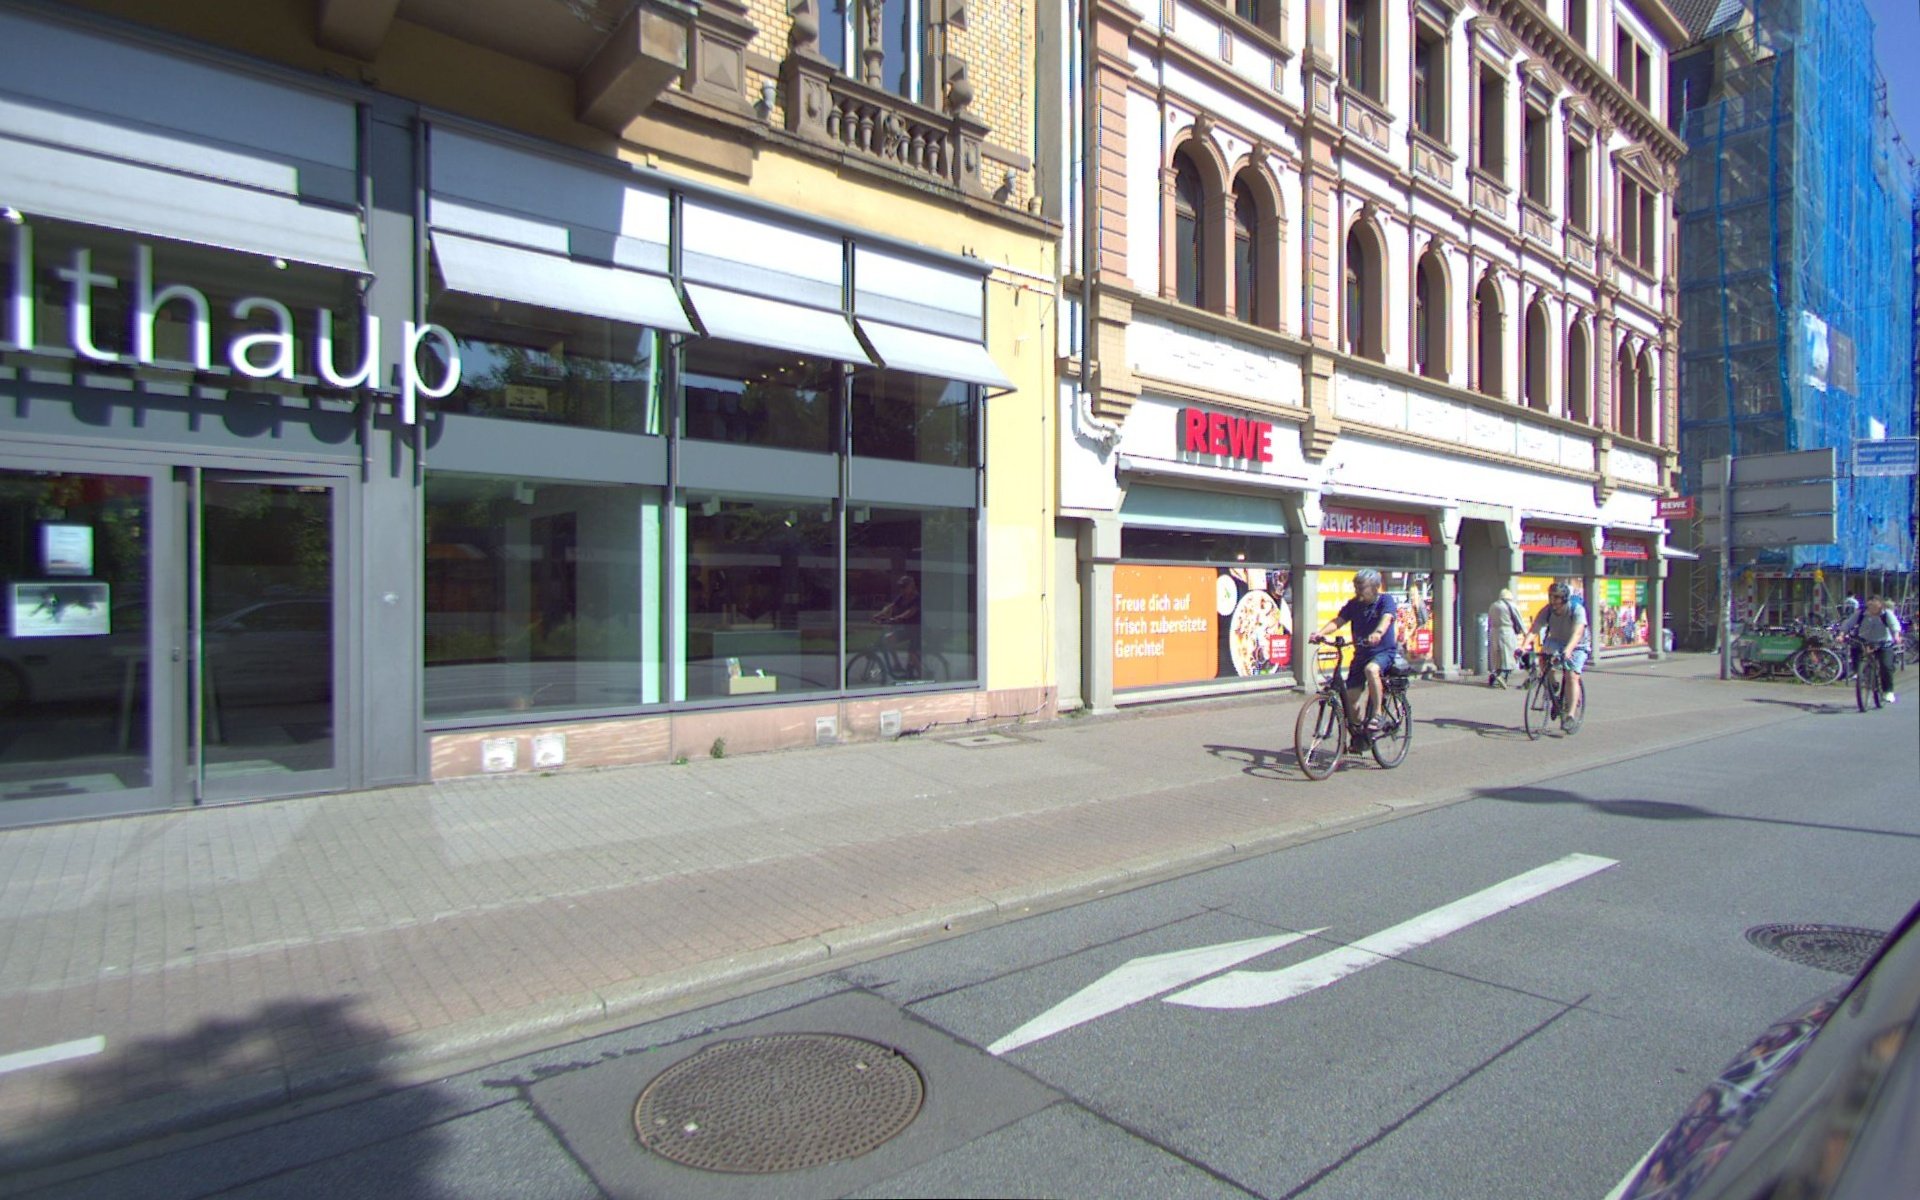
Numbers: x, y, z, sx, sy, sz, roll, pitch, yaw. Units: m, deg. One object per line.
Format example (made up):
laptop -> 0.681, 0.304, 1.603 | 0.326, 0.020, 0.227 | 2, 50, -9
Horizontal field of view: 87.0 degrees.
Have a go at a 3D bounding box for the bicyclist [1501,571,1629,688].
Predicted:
bicyclist -> 6.902, 0.304, 11.539 | 1.211, 1.250, 0.912 | 0, 1, -41

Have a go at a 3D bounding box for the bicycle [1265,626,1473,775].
bicycle -> 3.654, 0.805, 8.895 | 2.453, 1.096, 0.643 | 0, 1, -41

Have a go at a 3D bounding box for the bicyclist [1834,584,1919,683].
bicyclist -> 13.856, 0.478, 15.212 | 1.211, 1.411, 0.912 | 0, 1, -41

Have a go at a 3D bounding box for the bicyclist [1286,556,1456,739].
bicyclist -> 3.587, 0.370, 8.816 | 1.211, 1.454, 0.912 | 1, 0, -41

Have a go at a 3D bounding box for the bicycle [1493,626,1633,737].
bicycle -> 6.987, 0.885, 11.660 | 2.453, 1.096, 0.643 | 0, 1, -41

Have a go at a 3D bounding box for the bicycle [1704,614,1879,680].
bicycle -> 15.747, 0.849, 19.251 | 0.631, 1.096, 2.496 | 1, 1, -35

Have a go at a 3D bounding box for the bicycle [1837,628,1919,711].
bicycle -> 13.833, 0.999, 15.196 | 2.453, 1.096, 0.643 | 0, 1, -41

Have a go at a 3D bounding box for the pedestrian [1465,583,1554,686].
pedestrian -> 9.113, 0.548, 16.770 | 1.211, 1.621, 0.912 | 1, 0, -41
